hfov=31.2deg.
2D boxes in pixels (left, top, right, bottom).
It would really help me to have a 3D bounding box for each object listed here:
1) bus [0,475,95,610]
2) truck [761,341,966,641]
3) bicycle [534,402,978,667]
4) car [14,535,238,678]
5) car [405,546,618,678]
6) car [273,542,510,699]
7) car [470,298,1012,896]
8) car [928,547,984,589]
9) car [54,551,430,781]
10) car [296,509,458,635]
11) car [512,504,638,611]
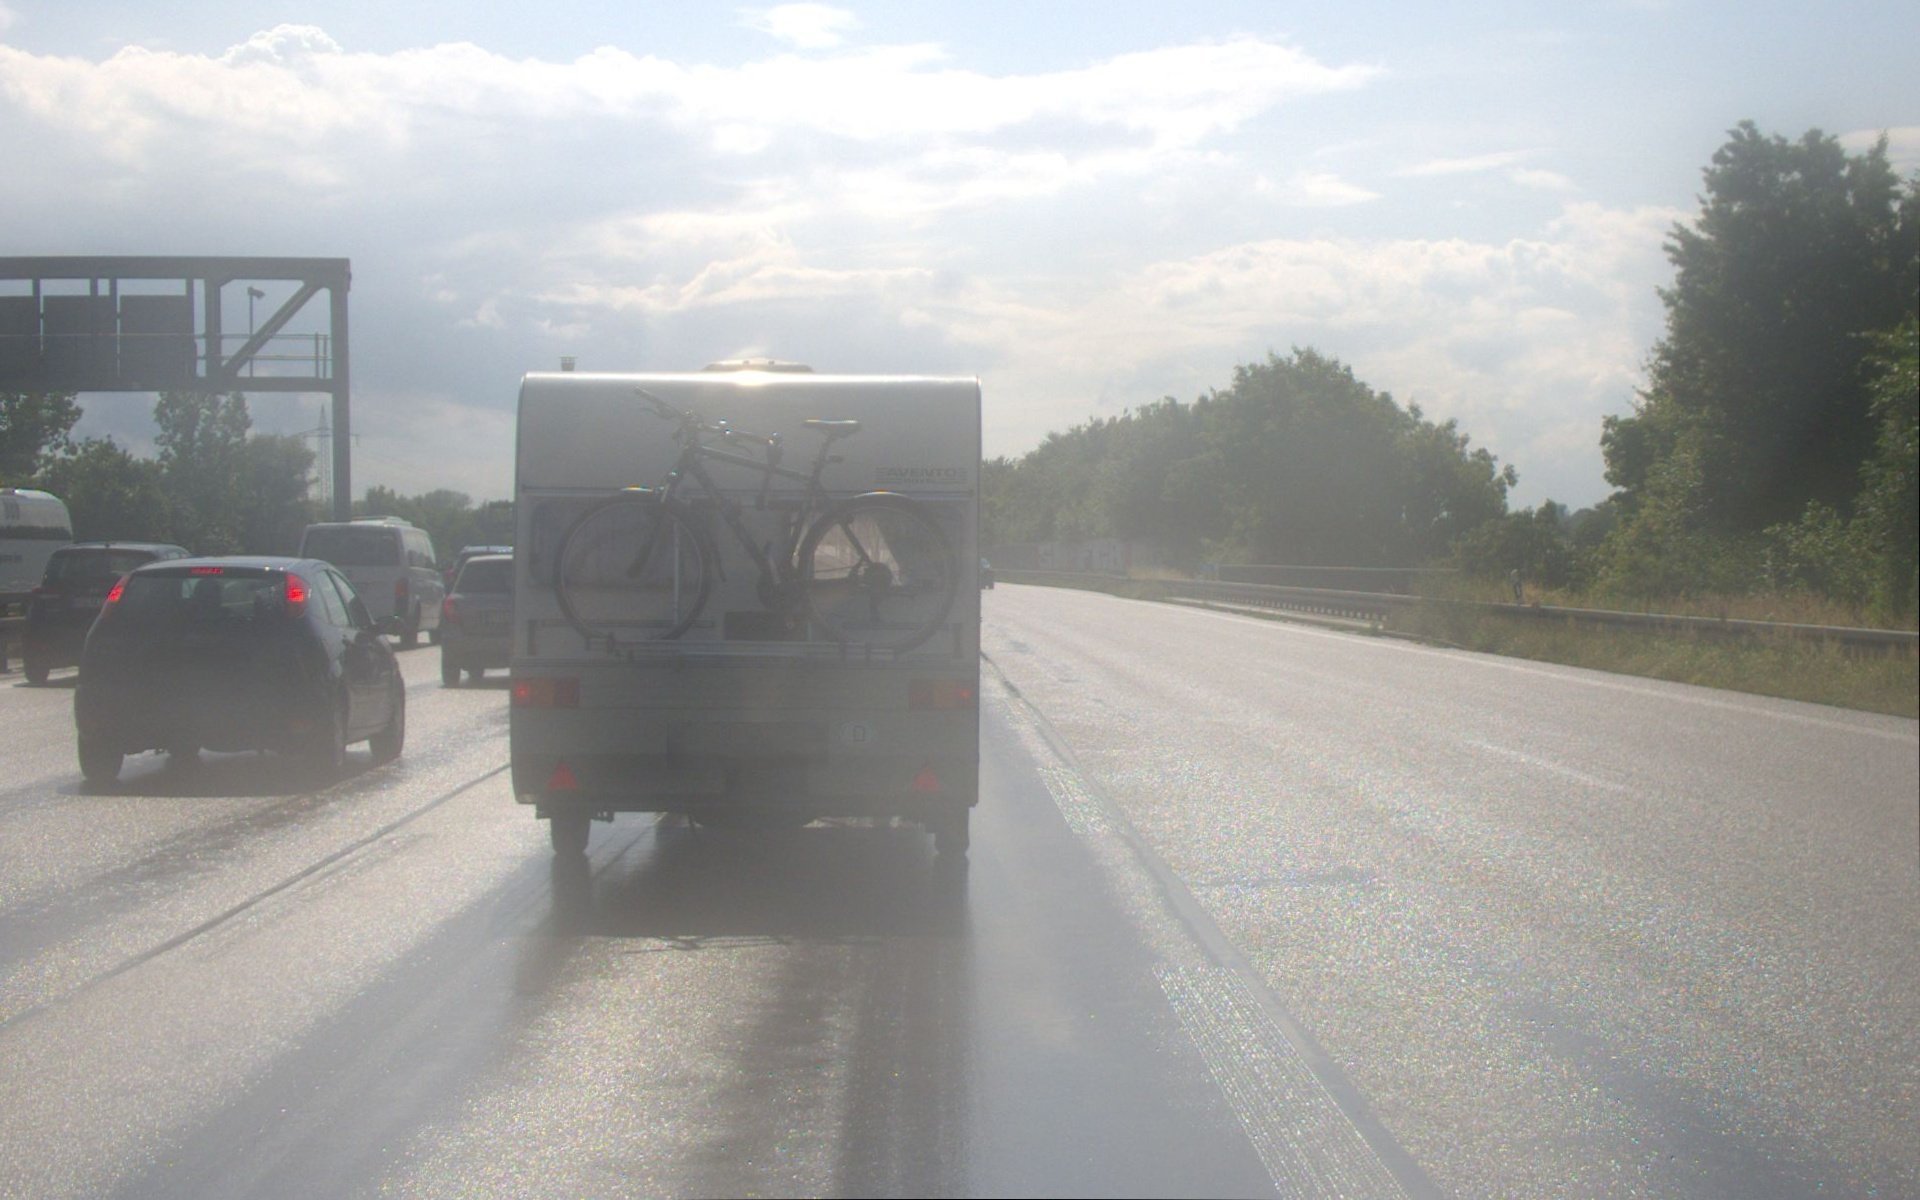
[{"bbox_3d":[-25.520,-1.501,89.684,2.891,3.362,12.471,0,1,-1],"label":"bus"},{"bbox_3d":[-1.649,-1.760,58.377,3.146,4.610,10.737,0,1,-2],"label":"truck"},{"bbox_3d":[-0.897,-0.290,15.279,1.934,1.137,0.384,1,0,1],"label":"bicycle"},{"bbox_3d":[-9.664,0.036,40.109,1.783,1.573,3.916,0,1,-2],"label":"car"},{"bbox_3d":[-5.211,0.105,40.387,1.987,1.453,3.826,0,1,0],"label":"car"},{"bbox_3d":[-5.724,0.173,35.020,1.863,1.503,4.000,0,1,-2],"label":"car"},{"bbox_3d":[-0.988,-0.036,17.479,2.410,2.665,4.000,1,1,0],"label":"car"},{"bbox_3d":[-0.172,-1.240,133.033,1.835,1.552,4.001,1,1,-4],"label":"car"},{"bbox_3d":[-4.855,0.388,23.777,1.758,1.438,4.000,0,1,0],"label":"car"},{"bbox_3d":[-9.317,-0.468,55.279,1.848,1.927,5.017,0,1,-1],"label":"car"},{"bbox_3d":[-6.186,-0.690,55.548,1.689,1.656,3.641,0,1,-1],"label":"car"}]
